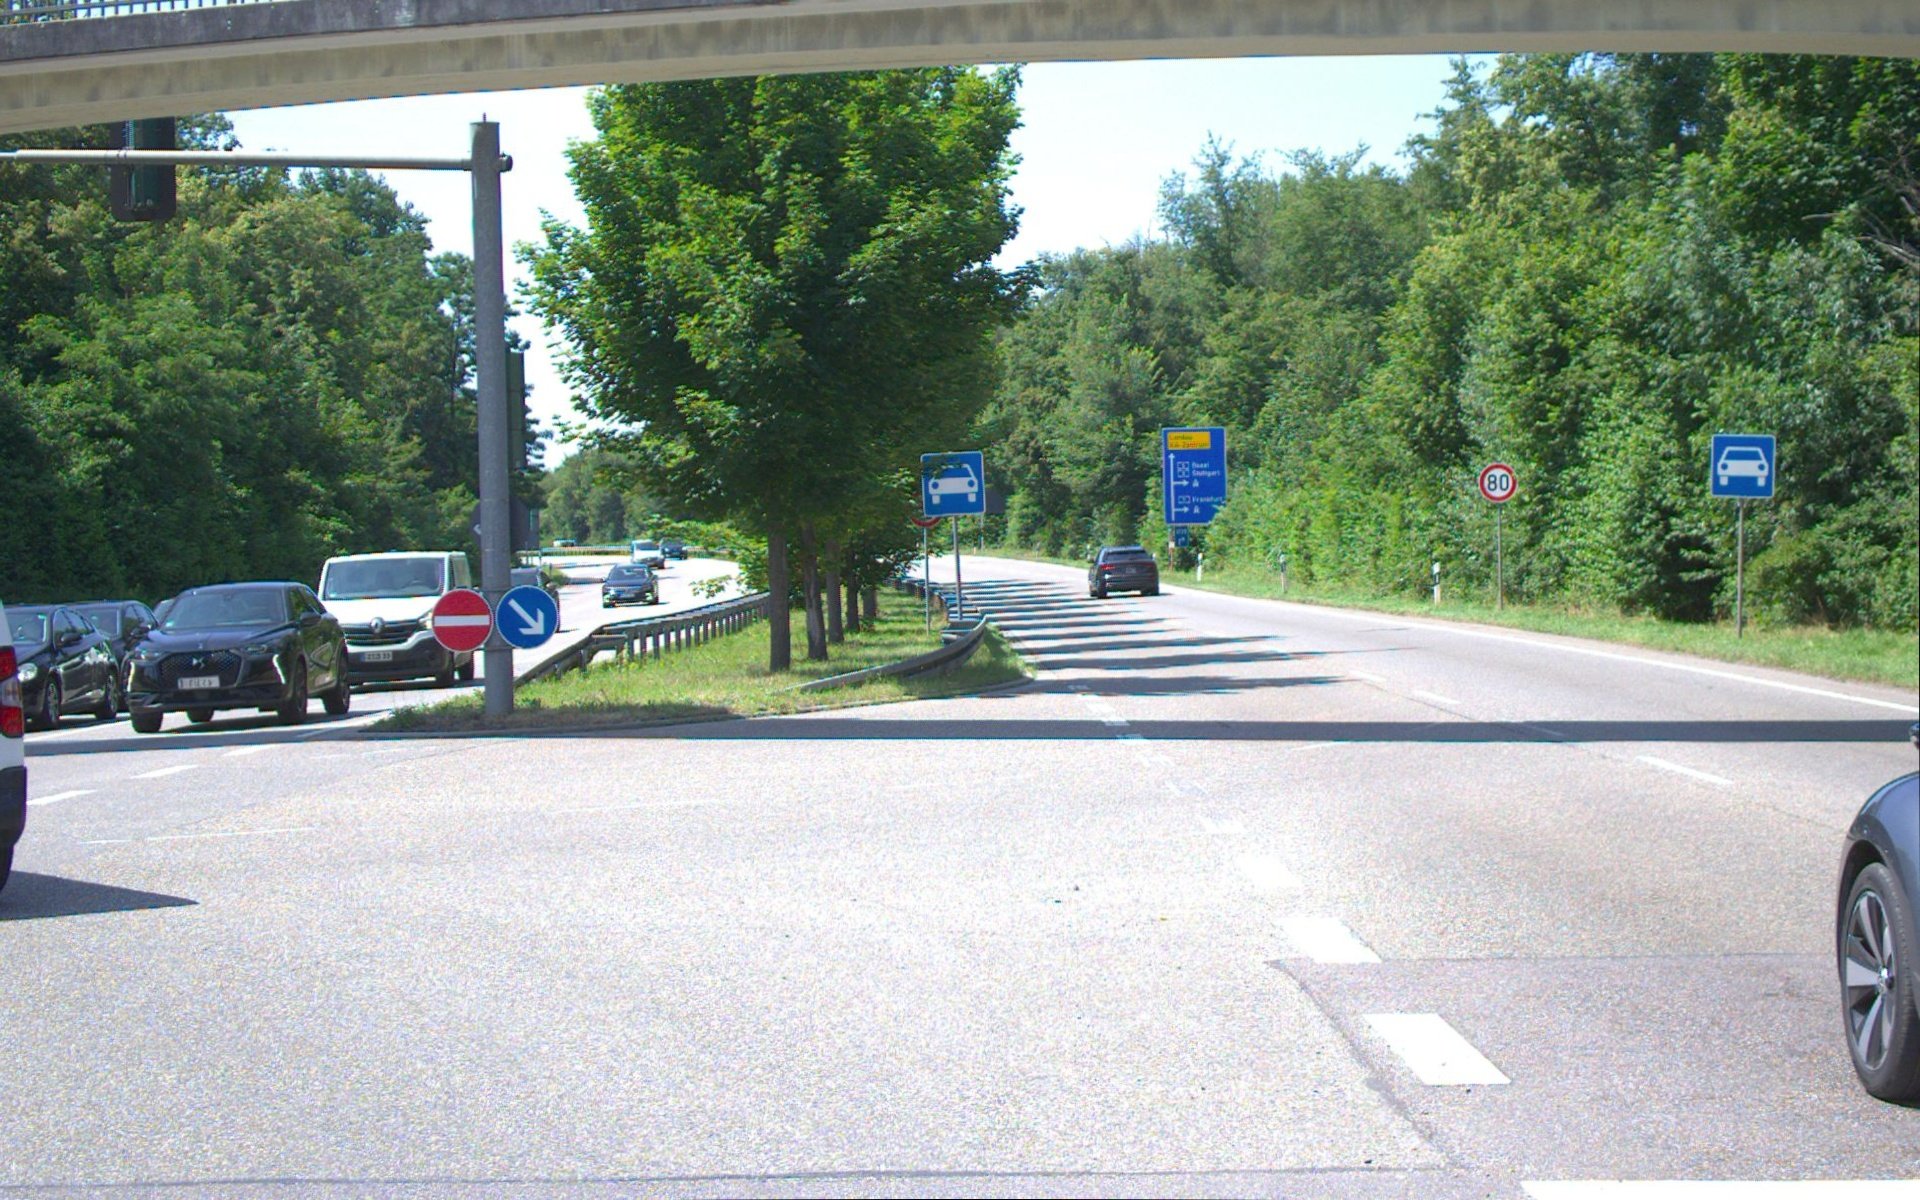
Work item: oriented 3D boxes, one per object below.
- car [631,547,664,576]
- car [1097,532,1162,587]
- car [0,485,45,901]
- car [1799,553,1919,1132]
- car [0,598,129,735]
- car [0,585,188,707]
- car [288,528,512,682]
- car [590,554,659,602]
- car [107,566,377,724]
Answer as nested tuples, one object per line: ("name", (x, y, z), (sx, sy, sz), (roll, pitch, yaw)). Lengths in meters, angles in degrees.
("car", (-19.264, -2.343, 211.879), (1.993, 1.744, 4.001), (0, 0, -6))
("car", (5.533, -1.350, 112.439), (2.042, 1.693, 5.086), (-1, 1, 3))
("car", (-5.972, 0.476, 16.199), (1.849, 1.819, 3.980), (-1, -1, -36))
("car", (3.400, 0.636, 8.070), (1.900, 1.472, 3.939), (0, 1, 0))
("car", (-11.190, 0.768, 39.939), (2.008, 1.455, 4.055), (-3, 1, 0))
("car", (-11.764, 0.590, 45.712), (2.008, 1.455, 4.055), (-3, 1, 0))
("car", (-7.927, 0.034, 49.224), (2.208, 1.986, 5.488), (-3, 1, 0))
("car", (-12.021, -0.799, 123.330), (2.008, 1.596, 4.055), (-3, 1, 0))
("car", (-7.658, 0.443, 37.047), (1.993, 1.518, 4.028), (-2, 1, 0))
